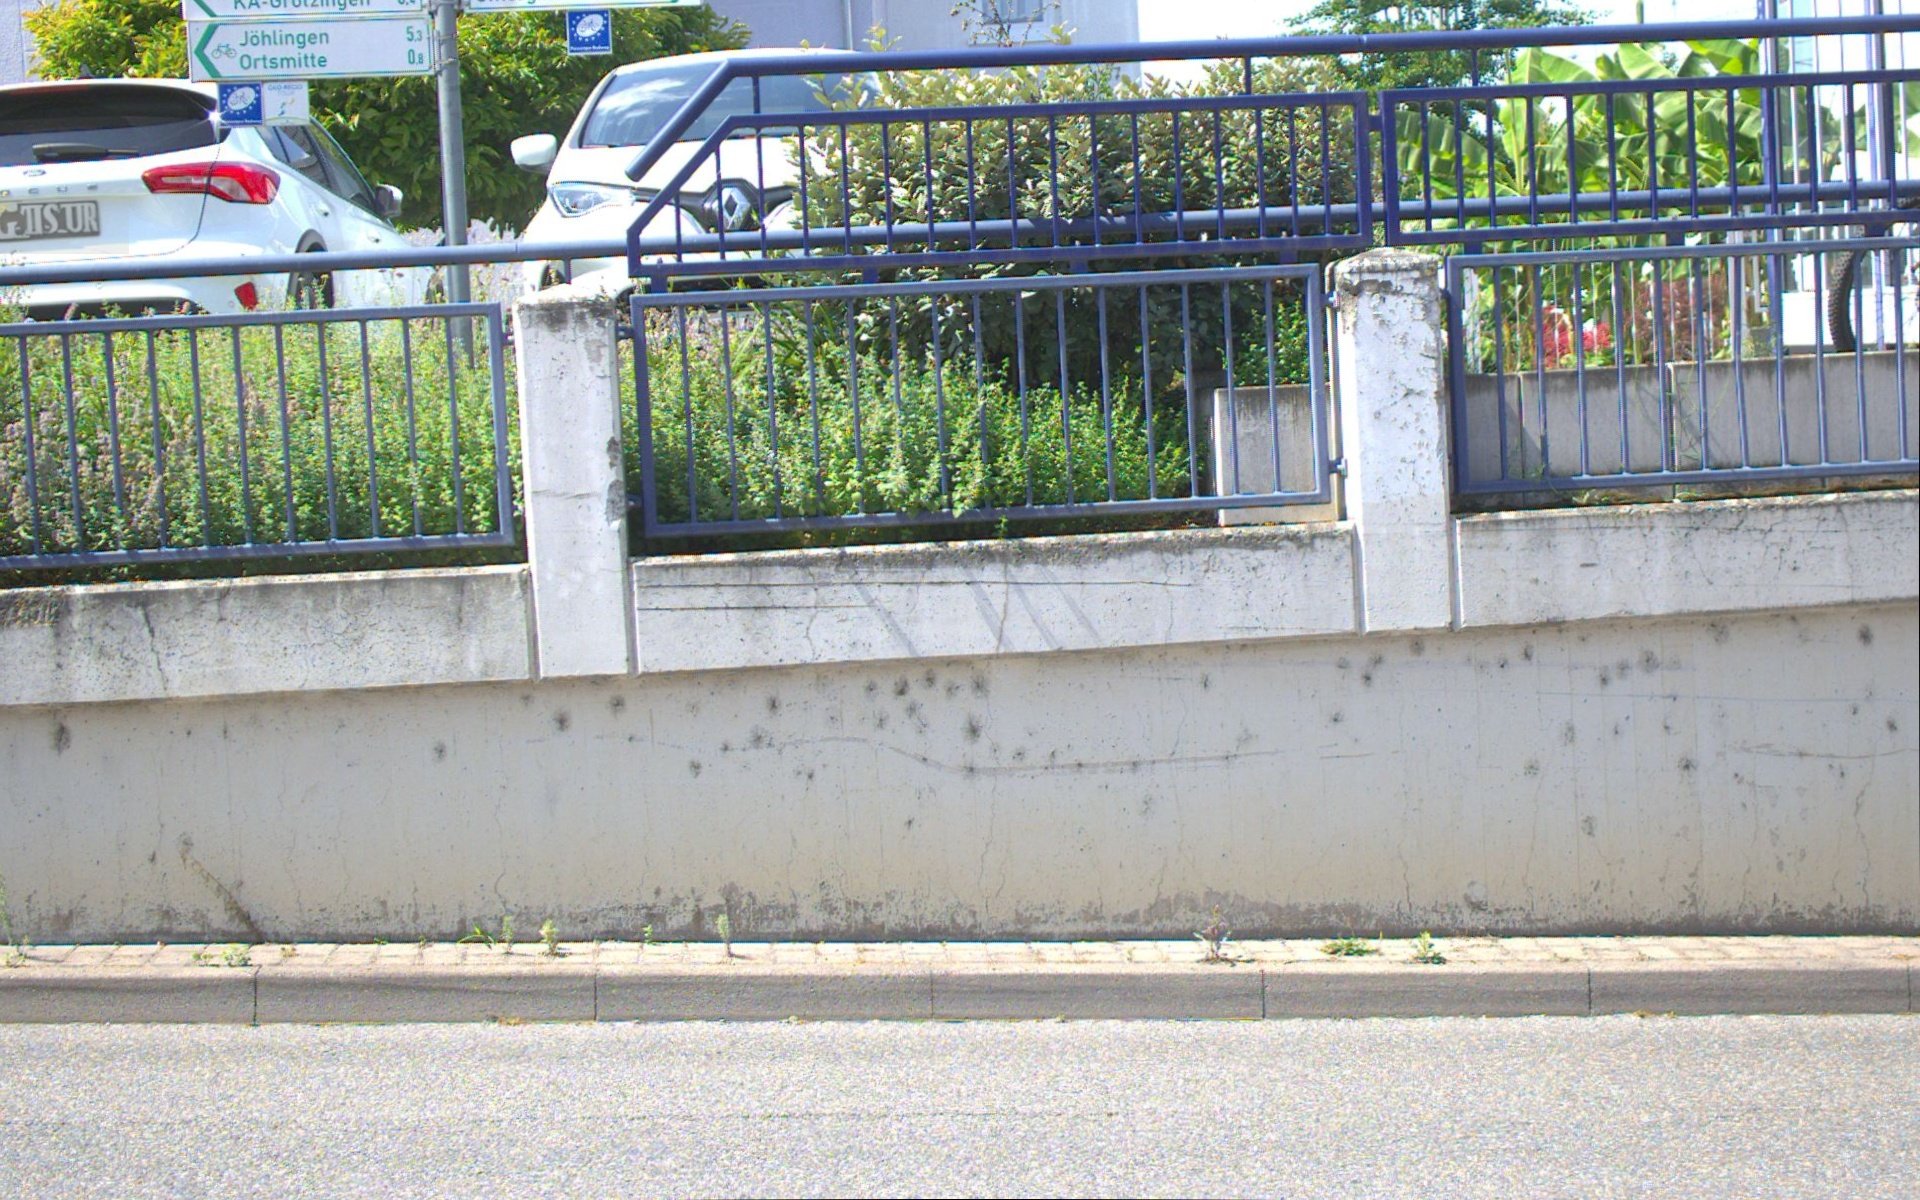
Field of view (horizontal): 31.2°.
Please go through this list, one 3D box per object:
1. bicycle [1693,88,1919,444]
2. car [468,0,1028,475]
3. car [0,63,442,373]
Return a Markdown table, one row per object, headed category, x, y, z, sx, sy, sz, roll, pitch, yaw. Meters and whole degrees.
| category | x | y | z | sx | sy | sz | roll | pitch | yaw |
| --- | --- | --- | --- | --- | --- | --- | --- | --- | --- |
| bicycle | 3.505 | -1.116 | 11.308 | 2.114 | 1.122 | 0.333 | -2 | 4 | -5 |
| car | -0.734 | -1.447 | 14.471 | 1.993 | 1.791 | 4.197 | 1 | 2 | 1 |
| car | -3.386 | -1.537 | 14.497 | 1.825 | 1.016 | 3.459 | 1 | 2 | 1 |
